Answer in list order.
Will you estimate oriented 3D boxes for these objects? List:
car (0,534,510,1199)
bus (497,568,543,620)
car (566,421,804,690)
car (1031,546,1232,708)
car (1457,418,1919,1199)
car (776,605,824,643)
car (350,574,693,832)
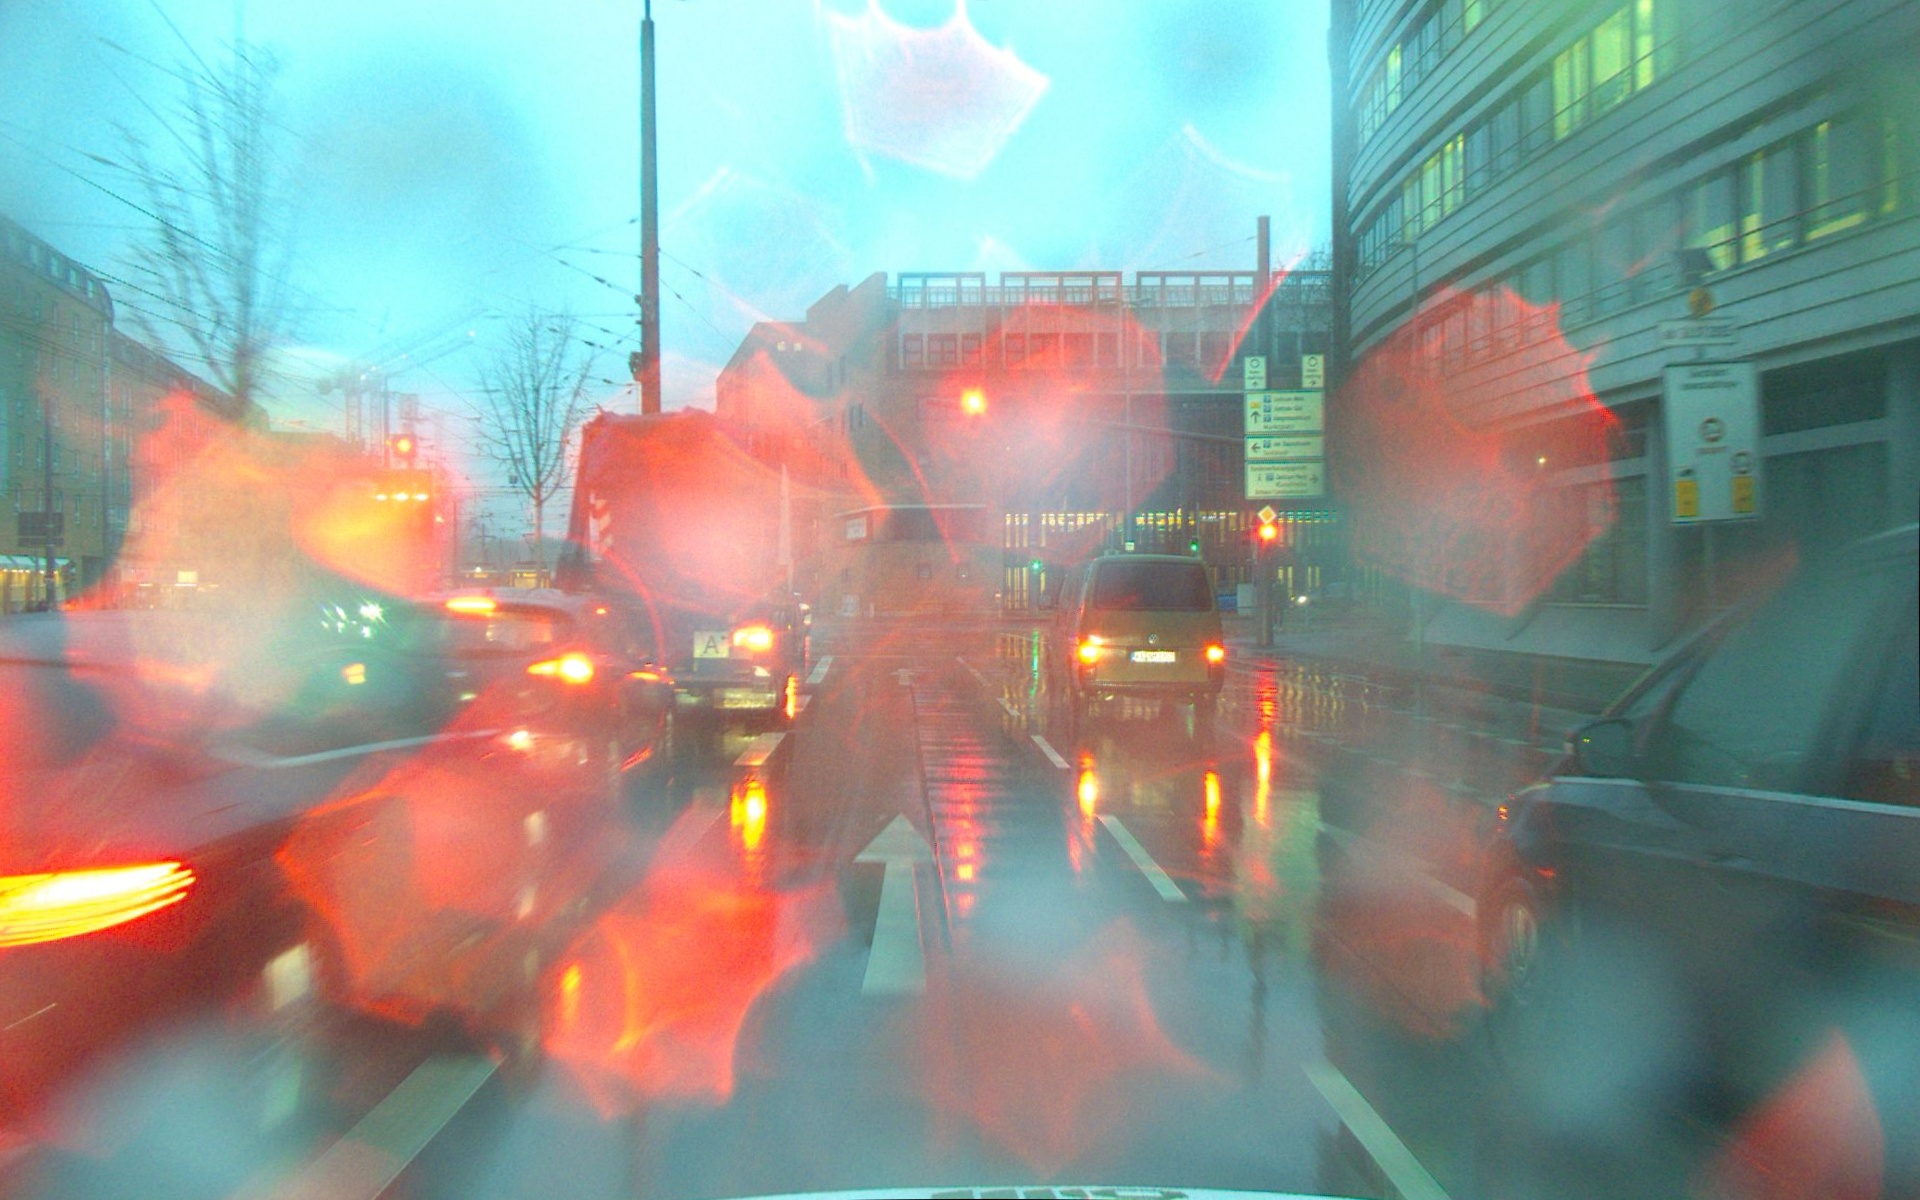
[{"bbox_3d":[-2.424,0.668,4.847,1.488,1.547,3.467,0,-1,-4],"label":"car"},{"bbox_3d":[-29.865,-0.402,112.442,2.775,3.431,7.972,0,0,-14],"label":"bus"},{"bbox_3d":[-3.256,-0.488,20.987,2.308,2.876,6.354,0,0,-4],"label":"car"},{"bbox_3d":[2.057,0.294,21.106,1.807,1.837,4.483,0,0,-4],"label":"car"},{"bbox_3d":[2.575,0.560,3.630,1.640,1.811,3.998,-1,0,-2],"label":"car"},{"bbox_3d":[-5.893,0.878,61.199,1.480,1.328,3.040,-1,0,0],"label":"car"},{"bbox_3d":[-2.950,0.613,11.935,1.671,1.535,3.997,0,0,-4],"label":"car"}]
